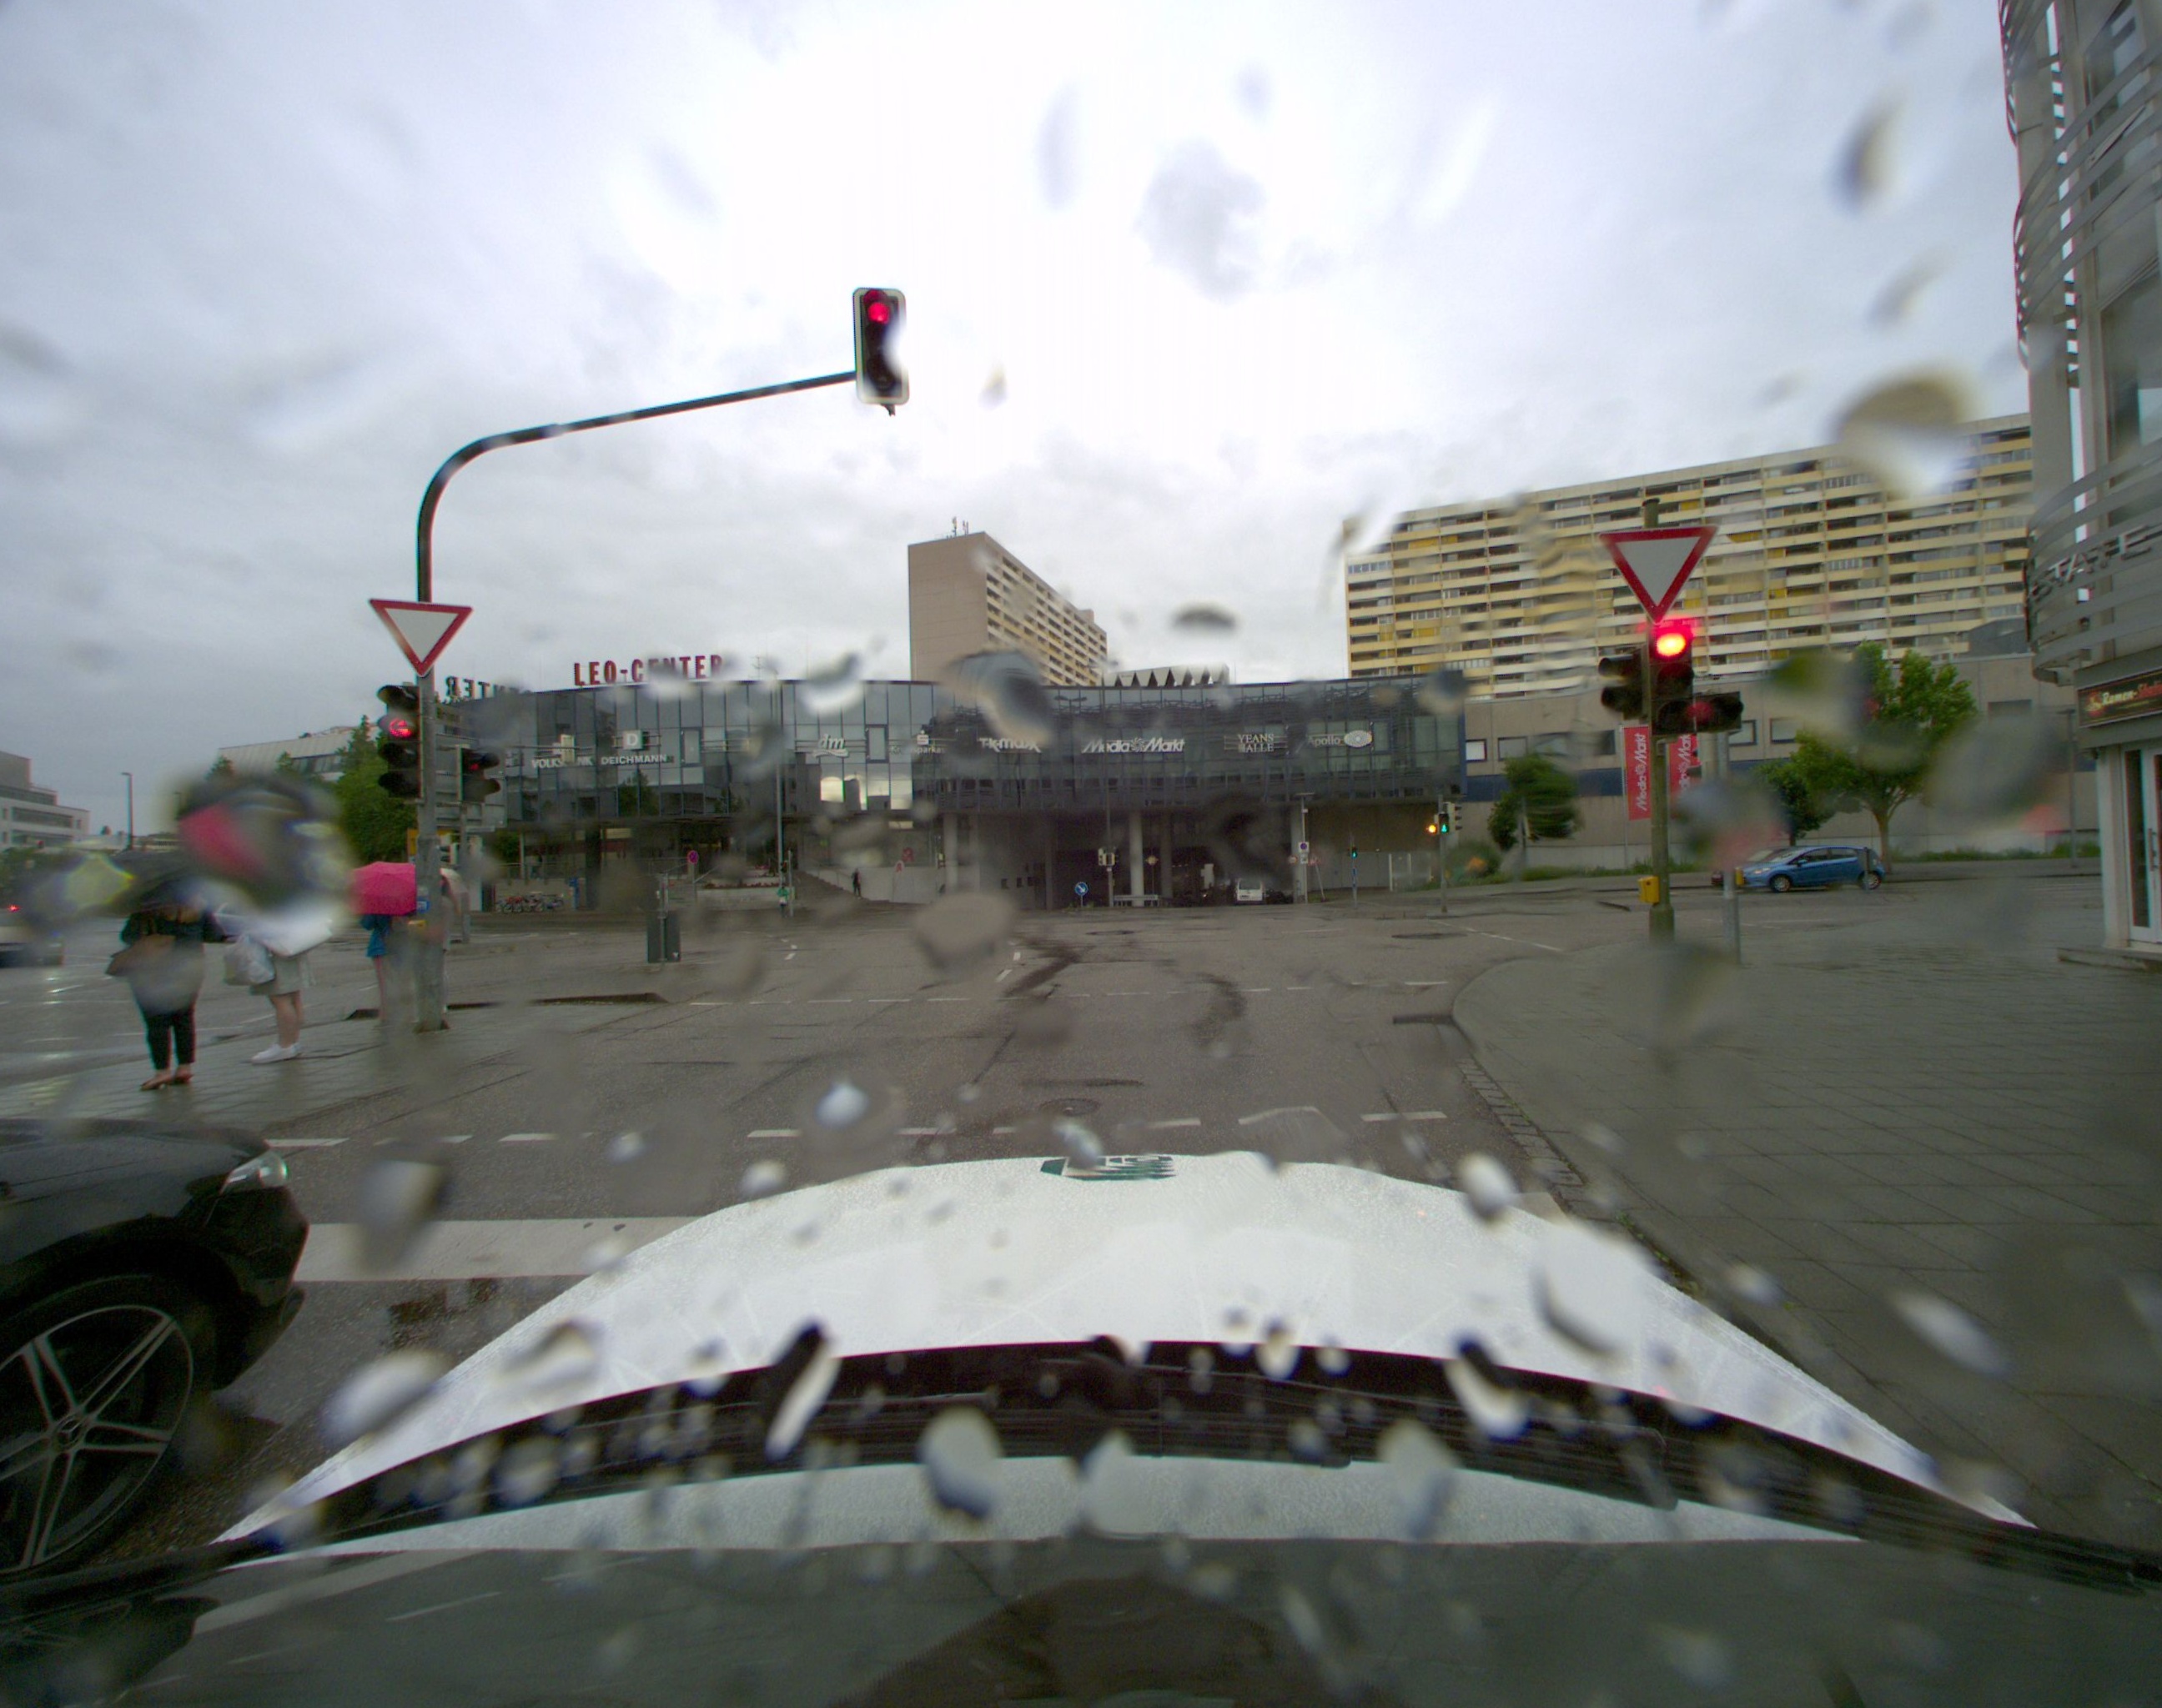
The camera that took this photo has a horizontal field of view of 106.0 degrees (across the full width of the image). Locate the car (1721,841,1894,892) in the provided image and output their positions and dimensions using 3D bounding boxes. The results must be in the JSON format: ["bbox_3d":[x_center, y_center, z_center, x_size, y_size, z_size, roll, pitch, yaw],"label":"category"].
[{"bbox_3d":[23.437,0.419,26.398,3.819,1.397,1.684,-3,-2,10],"label":"car"}]

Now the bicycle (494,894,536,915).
[{"bbox_3d":[-32.387,2.886,46.629,0.621,1.033,1.865,-3,1,20],"label":"bicycle"}]

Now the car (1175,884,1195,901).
[{"bbox_3d":[12.265,4.518,95.911,1.823,1.728,4.014,-2,-1,13],"label":"car"}]

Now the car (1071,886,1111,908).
[{"bbox_3d":[0.783,3.331,62.594,1.877,1.470,4.044,-2,-5,18],"label":"car"}]

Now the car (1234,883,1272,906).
[{"bbox_3d":[11.895,2.837,56.132,1.742,1.464,3.963,-3,-5,23],"label":"car"}]

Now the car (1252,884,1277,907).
[{"bbox_3d":[13.737,3.152,60.820,1.621,1.612,4.278,-3,-4,14],"label":"car"}]

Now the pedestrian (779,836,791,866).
[{"bbox_3d":[-17.876,-0.151,49.254,0.633,1.807,0.501,0,-1,-16],"label":"pedestrian"}]

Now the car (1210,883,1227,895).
[{"bbox_3d":[19.322,4.881,114.255,1.979,1.464,4.016,-3,-2,15],"label":"car"}]

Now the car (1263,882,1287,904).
[{"bbox_3d":[16.823,3.361,70.520,1.777,1.771,4.017,-3,-2,17],"label":"car"}]

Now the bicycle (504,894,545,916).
[{"bbox_3d":[-31.677,2.873,46.384,0.640,1.042,1.865,-3,1,20],"label":"bicycle"}]

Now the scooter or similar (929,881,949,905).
[{"bbox_3d":[-8.471,2.331,48.541,1.167,1.373,0.487,0,-1,-13],"label":"scooter or similar"}]

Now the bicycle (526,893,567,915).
[{"bbox_3d":[-30.089,2.817,45.906,0.625,1.023,1.864,-3,1,20],"label":"bicycle"}]

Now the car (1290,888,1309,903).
[{"bbox_3d":[24.283,4.562,90.425,1.874,1.491,3.856,-1,-1,16],"label":"car"}]

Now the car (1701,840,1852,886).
[{"bbox_3d":[24.854,0.330,29.239,3.660,1.395,1.750,-3,-2,11],"label":"car"}]

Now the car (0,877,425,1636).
[{"bbox_3d":[-2.999,0.833,0.618,1.657,1.481,4.094,0,0,0],"label":"car"}]

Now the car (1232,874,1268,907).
[{"bbox_3d":[10.103,2.155,48.487,1.912,1.798,4.310,-2,-3,13],"label":"car"}]

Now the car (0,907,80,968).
[{"bbox_3d":[-28.198,2.146,21.103,5.079,1.414,2.136,-3,-2,31],"label":"car"}]

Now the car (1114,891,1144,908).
[{"bbox_3d":[4.432,4.125,74.432,1.756,1.464,3.892,-3,-4,17],"label":"car"}]

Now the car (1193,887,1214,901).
[{"bbox_3d":[15.260,4.968,101.622,1.978,1.664,4.018,-1,-1,17],"label":"car"}]

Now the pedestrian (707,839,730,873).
[{"bbox_3d":[-21.743,0.126,48.818,0.943,2.014,0.835,0,-1,12],"label":"pedestrian"}]

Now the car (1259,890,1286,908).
[{"bbox_3d":[15.452,3.645,65.628,1.765,1.400,4.017,-3,-4,17],"label":"car"}]

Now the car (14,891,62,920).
[{"bbox_3d":[-75.160,3.659,58.690,4.085,1.896,2.062,-1,-1,38],"label":"car"}]

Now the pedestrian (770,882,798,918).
[{"bbox_3d":[-14.204,2.191,39.000,0.945,1.623,0.810,-2,-1,4],"label":"pedestrian"}]

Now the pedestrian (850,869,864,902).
[{"bbox_3d":[-13.056,1.813,47.486,0.655,1.908,0.593,-1,-1,-6],"label":"pedestrian"}]

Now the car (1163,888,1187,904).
[{"bbox_3d":[10.519,4.666,91.148,1.899,1.588,3.957,-3,-2,17],"label":"car"}]

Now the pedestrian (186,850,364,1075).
[{"bbox_3d":[-6.913,0.859,6.990,1.123,1.744,0.865,-3,-1,34],"label":"pedestrian"}]

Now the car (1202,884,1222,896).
[{"bbox_3d":[17.607,4.823,109.211,1.978,1.464,4.018,-3,-2,17],"label":"car"}]

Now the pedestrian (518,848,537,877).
[{"bbox_3d":[-32.935,0.513,48.461,0.592,1.714,0.658,-1,-1,25],"label":"pedestrian"}]

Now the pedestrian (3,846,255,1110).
[{"bbox_3d":[-6.966,0.836,6.033,0.956,1.736,0.829,-2,-2,-28],"label":"pedestrian"}]

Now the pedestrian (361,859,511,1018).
[{"bbox_3d":[-7.280,0.920,9.247,0.932,1.677,0.917,-2,-1,1],"label":"pedestrian"}]

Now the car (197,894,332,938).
[{"bbox_3d":[-29.846,2.266,29.778,3.949,1.441,1.754,-2,-1,16],"label":"car"}]

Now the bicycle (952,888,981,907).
[{"bbox_3d":[-6.877,2.634,48.996,1.591,1.018,0.448,5,-3,-29],"label":"bicycle"}]

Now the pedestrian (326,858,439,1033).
[{"bbox_3d":[-7.250,0.905,8.455,0.665,1.685,0.811,-4,-2,45],"label":"pedestrian"}]

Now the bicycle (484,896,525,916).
[{"bbox_3d":[-33.071,2.980,46.768,0.529,0.951,1.865,-1,2,23],"label":"bicycle"}]
